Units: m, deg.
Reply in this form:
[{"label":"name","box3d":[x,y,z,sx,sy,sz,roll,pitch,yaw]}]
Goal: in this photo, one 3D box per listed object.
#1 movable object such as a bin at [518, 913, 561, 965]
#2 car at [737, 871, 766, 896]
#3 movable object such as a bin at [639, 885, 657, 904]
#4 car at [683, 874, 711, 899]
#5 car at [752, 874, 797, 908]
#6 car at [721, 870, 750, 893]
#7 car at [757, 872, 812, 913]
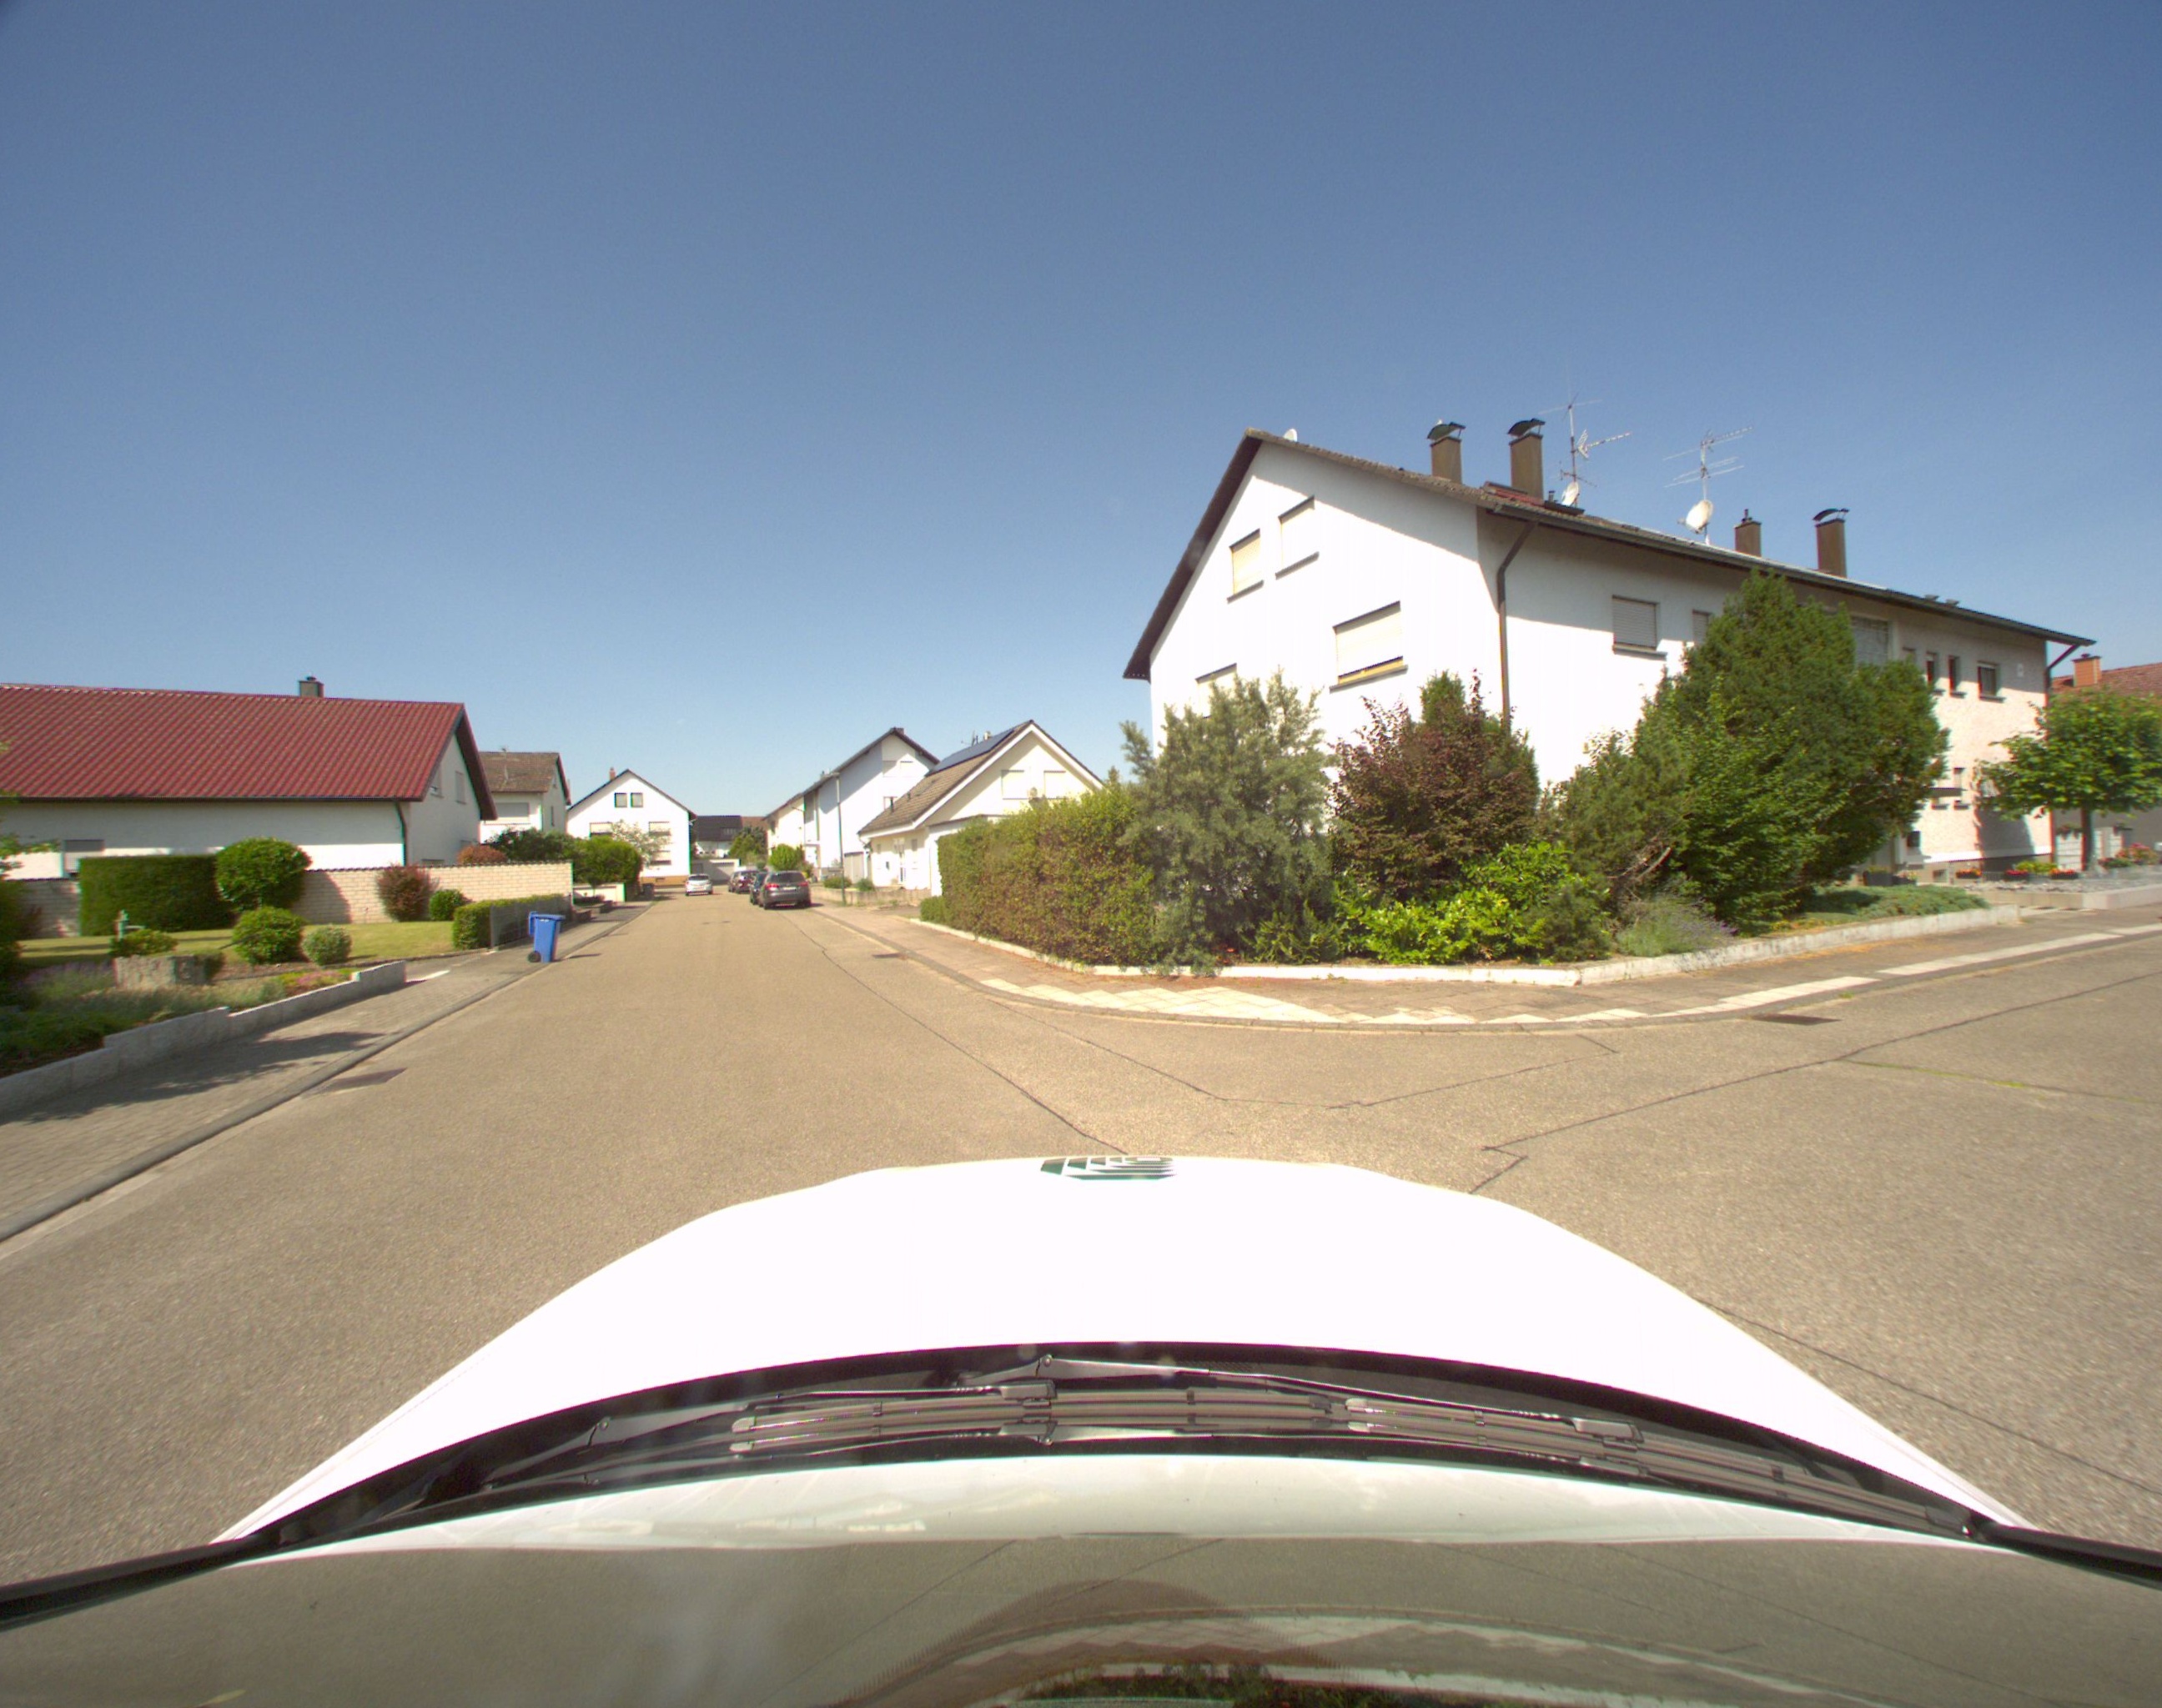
[{"label":"movable object such as a bin","box3d":[-10.244,1.595,15.428,0.585,0.916,0.593,-1,-1,-25]},{"label":"car","box3d":[-23.094,2.017,57.006,1.653,1.581,4.112,-2,0,-25]},{"label":"movable object such as a bin","box3d":[-25.288,2.353,47.568,0.823,1.063,0.605,-2,0,-27]},{"label":"car","box3d":[-26.601,2.245,56.372,1.653,1.581,3.777,-2,0,-25]},{"label":"car","box3d":[-14.450,1.699,38.264,1.725,1.438,4.466,-2,-1,-24]},{"label":"car","box3d":[-26.092,2.040,61.368,1.654,1.546,4.011,-2,0,-27]},{"label":"car","box3d":[-12.092,1.516,33.090,1.651,1.478,3.965,0,-1,-26]}]
